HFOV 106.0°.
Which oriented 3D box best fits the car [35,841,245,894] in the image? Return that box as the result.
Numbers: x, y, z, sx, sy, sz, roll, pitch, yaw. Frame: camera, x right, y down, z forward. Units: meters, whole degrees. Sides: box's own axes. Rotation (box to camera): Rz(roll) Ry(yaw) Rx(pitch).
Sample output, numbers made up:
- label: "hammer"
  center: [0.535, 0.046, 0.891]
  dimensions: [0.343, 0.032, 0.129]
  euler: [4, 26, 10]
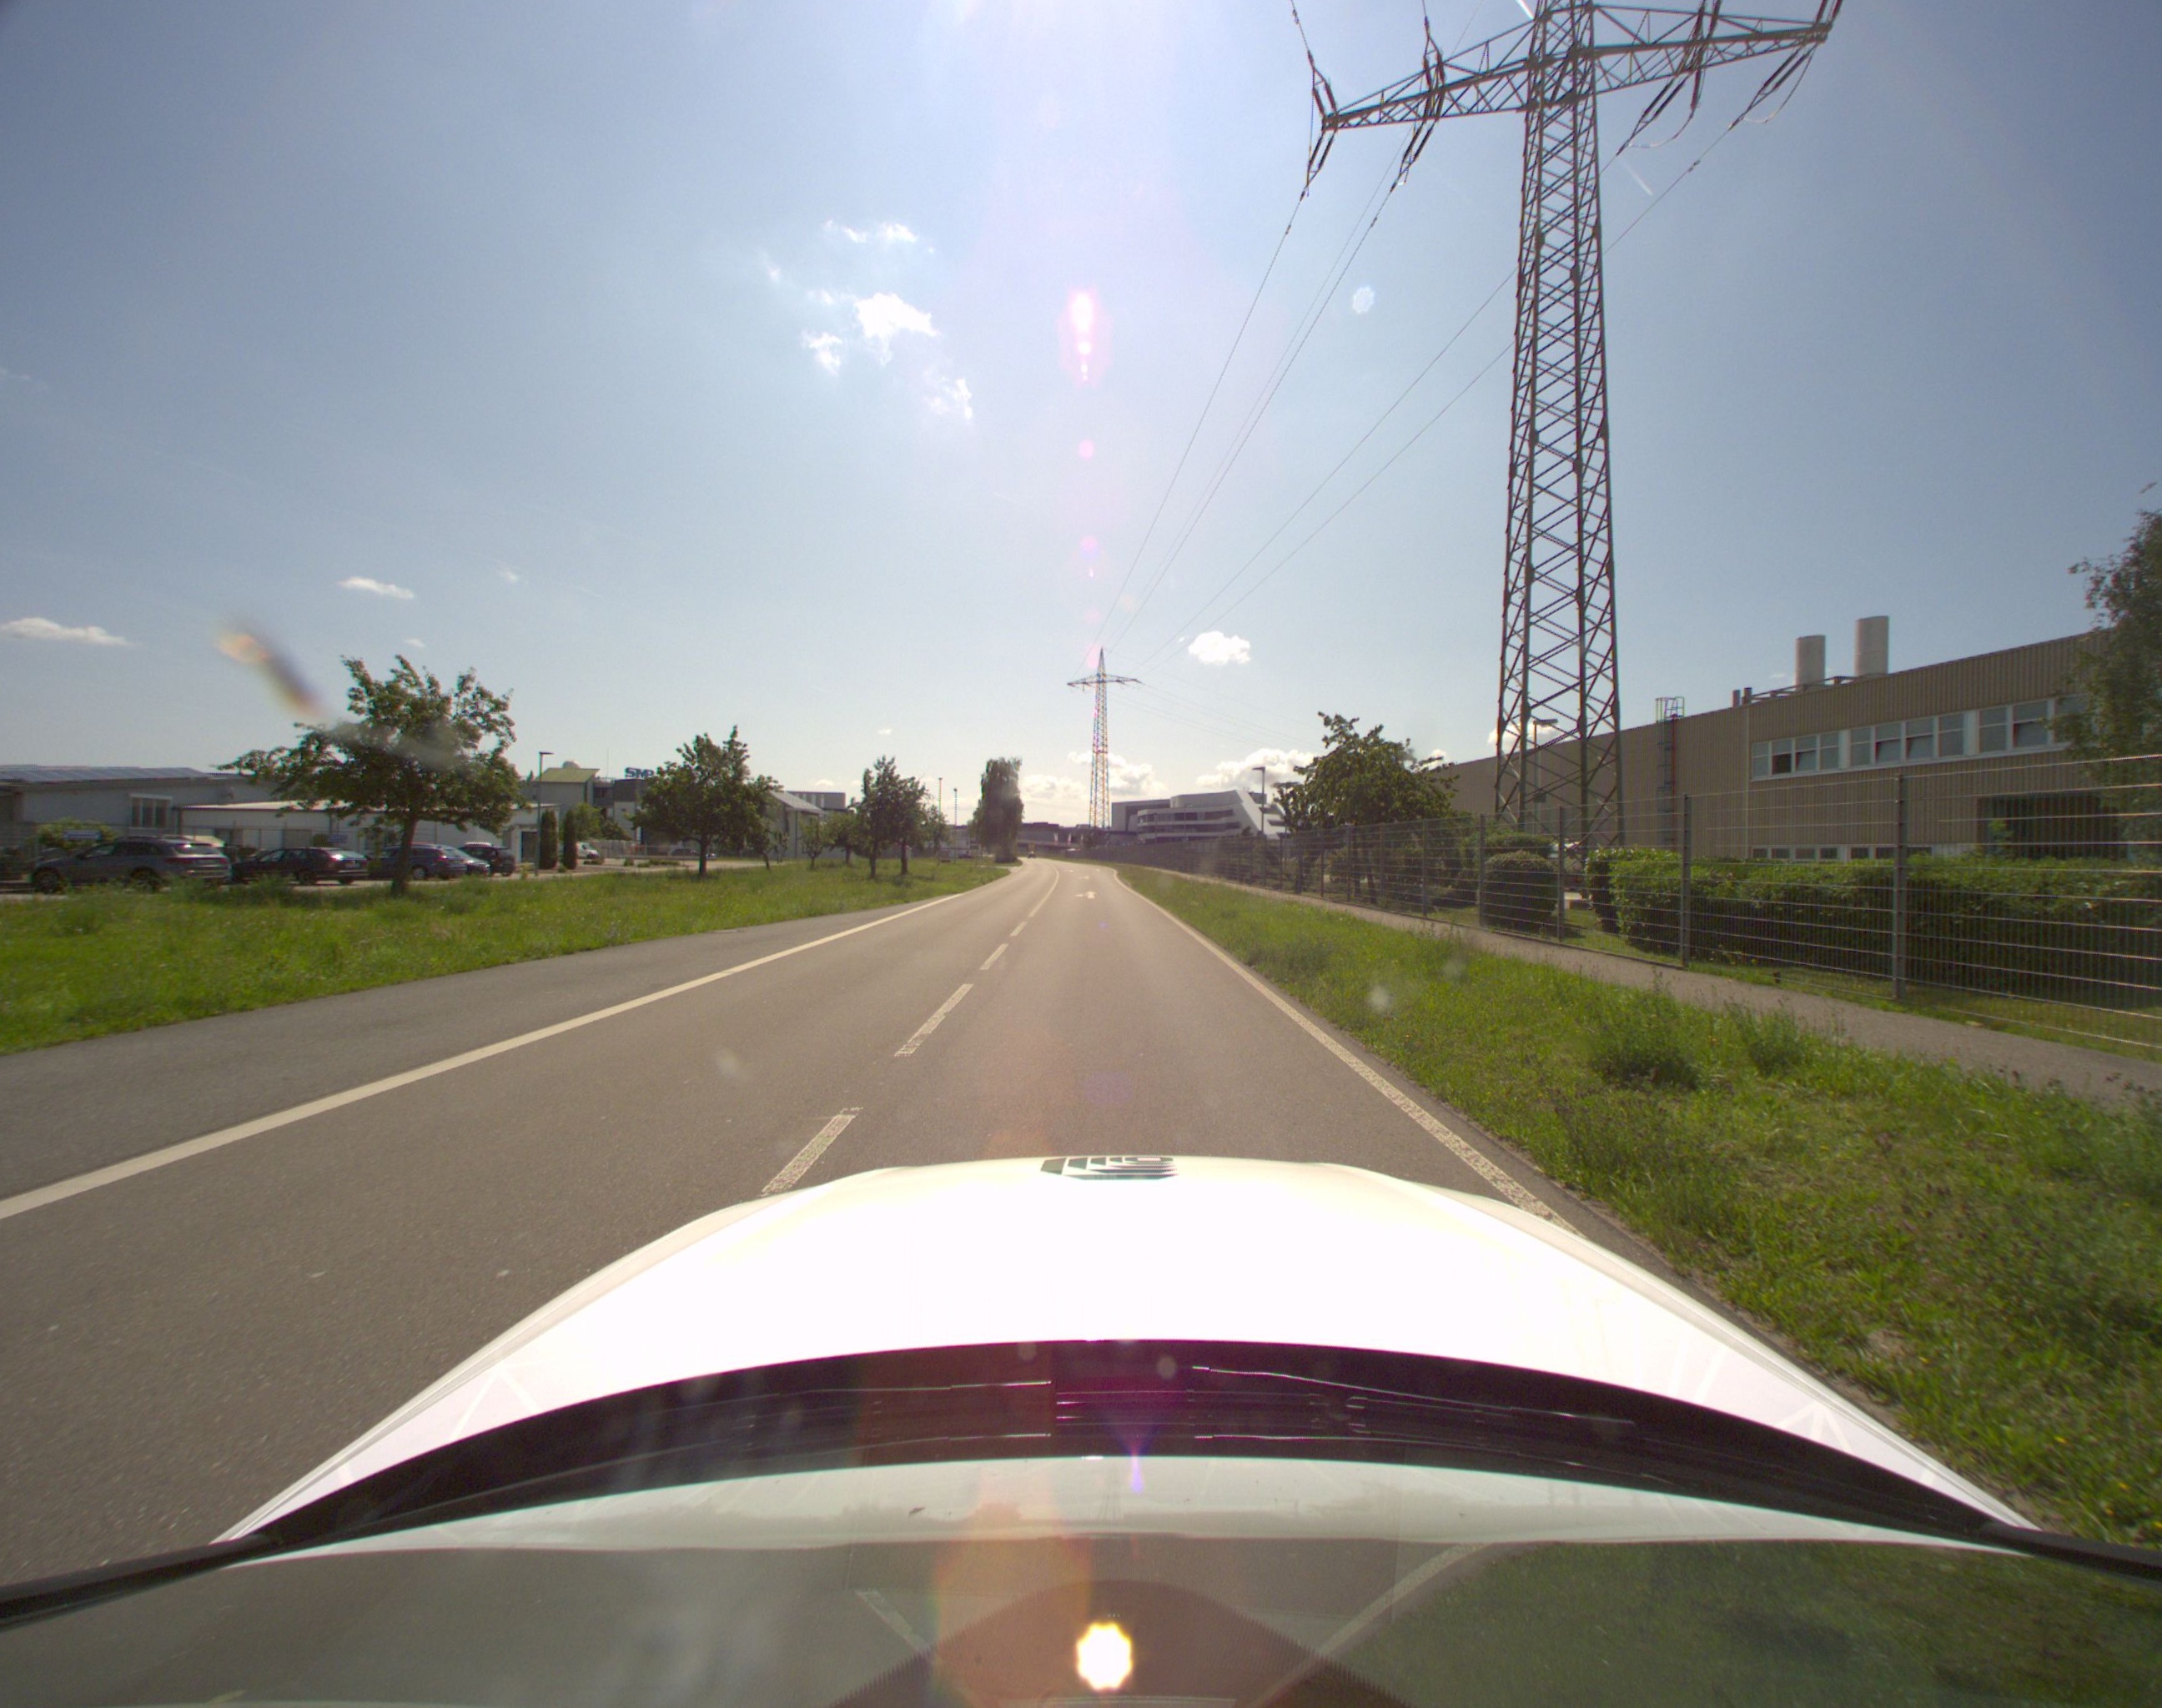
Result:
- label: "car"
  center: [-29.255, 0.422, 25.454]
  dimensions: [3.981, 1.528, 1.996]
  euler: [1, 0, -5]

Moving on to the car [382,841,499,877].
- label: "car"
  center: [-30.626, 0.238, 39.029]
  dimensions: [3.981, 1.640, 1.855]
  euler: [1, 0, -5]

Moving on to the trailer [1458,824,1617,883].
- label: "trailer"
  center: [31.941, -0.070, 58.045]
  dimensions: [3.586, 3.735, 12.214]
  euler: [0, 0, -6]

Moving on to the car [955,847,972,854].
- label: "car"
  center: [-27.823, -0.817, 193.373]
  dimensions: [3.983, 1.574, 1.996]
  euler: [0, 0, -7]

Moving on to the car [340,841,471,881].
- label: "car"
  center: [-29.965, 0.309, 36.244]
  dimensions: [3.981, 1.640, 1.996]
  euler: [1, 0, -5]

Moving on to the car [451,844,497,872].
- label: "car"
  center: [-36.860, 0.233, 49.538]
  dimensions: [2.008, 1.640, 4.126]
  euler: [1, 0, -34]

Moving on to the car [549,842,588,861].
- label: "car"
  center: [-58.176, -0.302, 92.556]
  dimensions: [1.993, 2.013, 4.726]
  euler: [1, 0, -10]

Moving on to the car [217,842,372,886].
- label: "car"
  center: [-29.519, 0.358, 30.666]
  dimensions: [3.981, 1.555, 1.663]
  euler: [1, 0, -5]

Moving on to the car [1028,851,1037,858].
- label: "car"
  center: [-11.960, 0.129, 200.934]
  dimensions: [2.007, 1.508, 3.997]
  euler: [1, 0, -2]

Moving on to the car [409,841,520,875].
- label: "car"
  center: [-31.189, 0.194, 41.311]
  dimensions: [3.981, 1.640, 1.996]
  euler: [1, 0, -5]
